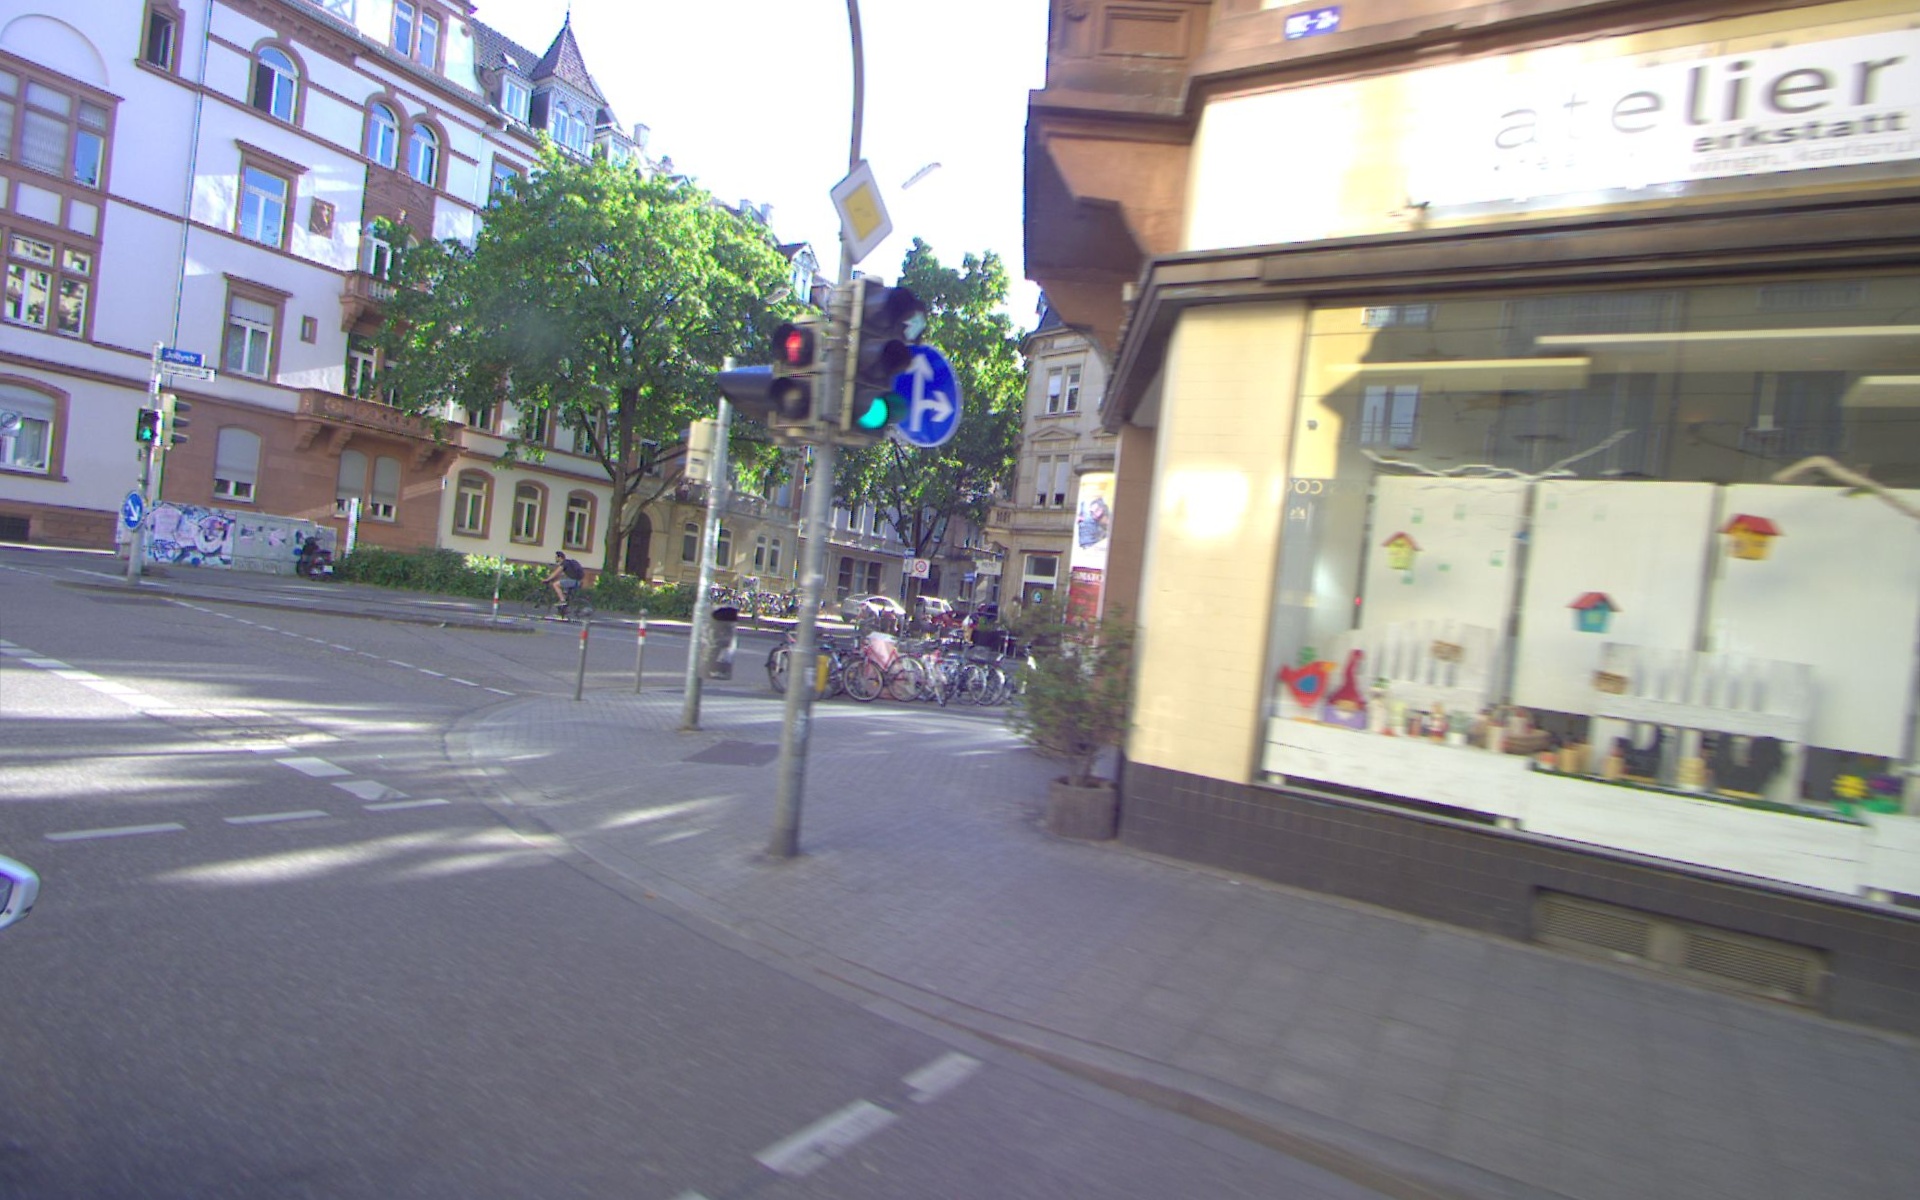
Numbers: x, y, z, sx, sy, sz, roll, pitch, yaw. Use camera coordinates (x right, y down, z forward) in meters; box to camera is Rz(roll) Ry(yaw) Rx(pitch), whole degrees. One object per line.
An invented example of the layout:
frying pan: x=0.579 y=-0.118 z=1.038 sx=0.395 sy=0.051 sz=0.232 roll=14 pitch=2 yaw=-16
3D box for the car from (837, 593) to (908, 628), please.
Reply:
car: x=-4.681 y=0.597 z=54.282 sx=1.537 sy=1.447 sz=3.795 roll=11 pitch=2 yaw=36

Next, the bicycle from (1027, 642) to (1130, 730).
bicycle: x=1.799 y=1.301 z=15.441 sx=0.539 sy=1.156 sz=1.602 roll=6 pitch=-1 yaw=-36

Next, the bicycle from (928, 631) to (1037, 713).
bicycle: x=0.339 y=1.183 z=16.960 sx=0.612 sy=1.156 sz=2.100 roll=6 pitch=-1 yaw=-36

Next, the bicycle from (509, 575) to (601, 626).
bicycle: x=-10.409 y=0.015 z=25.896 sx=2.068 sy=1.058 sz=0.843 roll=7 pitch=1 yaw=-22

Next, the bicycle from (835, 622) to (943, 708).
bicycle: x=-1.171 y=1.007 z=16.080 sx=0.612 sy=1.156 sz=2.100 roll=6 pitch=-1 yaw=-36

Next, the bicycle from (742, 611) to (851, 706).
bicycle: x=-2.434 y=0.825 z=14.738 sx=0.612 sy=1.157 sz=2.100 roll=6 pitch=-1 yaw=-36

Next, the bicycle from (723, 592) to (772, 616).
bicycle: x=-9.957 y=0.184 z=47.071 sx=2.128 sy=0.883 sz=1.013 roll=7 pitch=0 yaw=38

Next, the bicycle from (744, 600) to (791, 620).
bicycle: x=-9.203 y=0.483 z=48.064 sx=2.128 sy=0.658 sz=1.013 roll=7 pitch=0 yaw=38

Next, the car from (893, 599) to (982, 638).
car: x=-1.091 y=0.892 z=49.499 sx=4.099 sy=1.451 sz=1.637 roll=6 pitch=2 yaw=5

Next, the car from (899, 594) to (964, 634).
car: x=-1.632 y=0.851 z=59.159 sx=1.612 sy=1.885 sz=3.990 roll=7 pitch=0 yaw=34

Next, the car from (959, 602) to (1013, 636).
car: x=1.746 y=1.285 z=67.206 sx=1.713 sy=1.885 sz=3.993 roll=7 pitch=0 yaw=30

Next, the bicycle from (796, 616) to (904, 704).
bicycle: x=-1.741 y=0.908 z=15.605 sx=0.612 sy=1.156 sz=2.100 roll=6 pitch=-1 yaw=-36

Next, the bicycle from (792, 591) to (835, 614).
bicycle: x=-7.432 y=0.138 z=51.007 sx=2.022 sy=0.741 sz=1.013 roll=12 pitch=4 yaw=37

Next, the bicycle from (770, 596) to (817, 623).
bicycle: x=-8.238 y=0.471 z=49.636 sx=2.127 sy=0.899 sz=1.013 roll=12 pitch=4 yaw=37

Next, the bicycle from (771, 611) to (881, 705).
bicycle: x=-2.036 y=0.834 z=14.978 sx=0.612 sy=1.157 sz=2.100 roll=6 pitch=0 yaw=-36

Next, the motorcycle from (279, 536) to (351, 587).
motorcycle: x=-17.953 y=-1.078 z=27.983 sx=2.350 sy=1.139 sz=0.611 roll=9 pitch=2 yaw=31

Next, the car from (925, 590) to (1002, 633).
car: x=0.234 y=0.596 z=54.725 sx=3.924 sy=1.887 sz=1.637 roll=6 pitch=2 yaw=5

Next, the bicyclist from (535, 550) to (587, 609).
bicyclist: x=-10.273 y=-0.540 z=25.928 sx=1.120 sy=1.360 sz=0.833 roll=6 pitch=1 yaw=-22

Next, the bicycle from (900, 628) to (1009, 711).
bicycle: x=-0.124 y=1.114 z=16.596 sx=0.612 sy=1.156 sz=2.100 roll=6 pitch=-1 yaw=-36

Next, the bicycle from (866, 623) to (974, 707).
bicycle: x=-0.688 y=1.029 z=16.331 sx=0.612 sy=1.156 sz=2.100 roll=6 pitch=-1 yaw=-36
